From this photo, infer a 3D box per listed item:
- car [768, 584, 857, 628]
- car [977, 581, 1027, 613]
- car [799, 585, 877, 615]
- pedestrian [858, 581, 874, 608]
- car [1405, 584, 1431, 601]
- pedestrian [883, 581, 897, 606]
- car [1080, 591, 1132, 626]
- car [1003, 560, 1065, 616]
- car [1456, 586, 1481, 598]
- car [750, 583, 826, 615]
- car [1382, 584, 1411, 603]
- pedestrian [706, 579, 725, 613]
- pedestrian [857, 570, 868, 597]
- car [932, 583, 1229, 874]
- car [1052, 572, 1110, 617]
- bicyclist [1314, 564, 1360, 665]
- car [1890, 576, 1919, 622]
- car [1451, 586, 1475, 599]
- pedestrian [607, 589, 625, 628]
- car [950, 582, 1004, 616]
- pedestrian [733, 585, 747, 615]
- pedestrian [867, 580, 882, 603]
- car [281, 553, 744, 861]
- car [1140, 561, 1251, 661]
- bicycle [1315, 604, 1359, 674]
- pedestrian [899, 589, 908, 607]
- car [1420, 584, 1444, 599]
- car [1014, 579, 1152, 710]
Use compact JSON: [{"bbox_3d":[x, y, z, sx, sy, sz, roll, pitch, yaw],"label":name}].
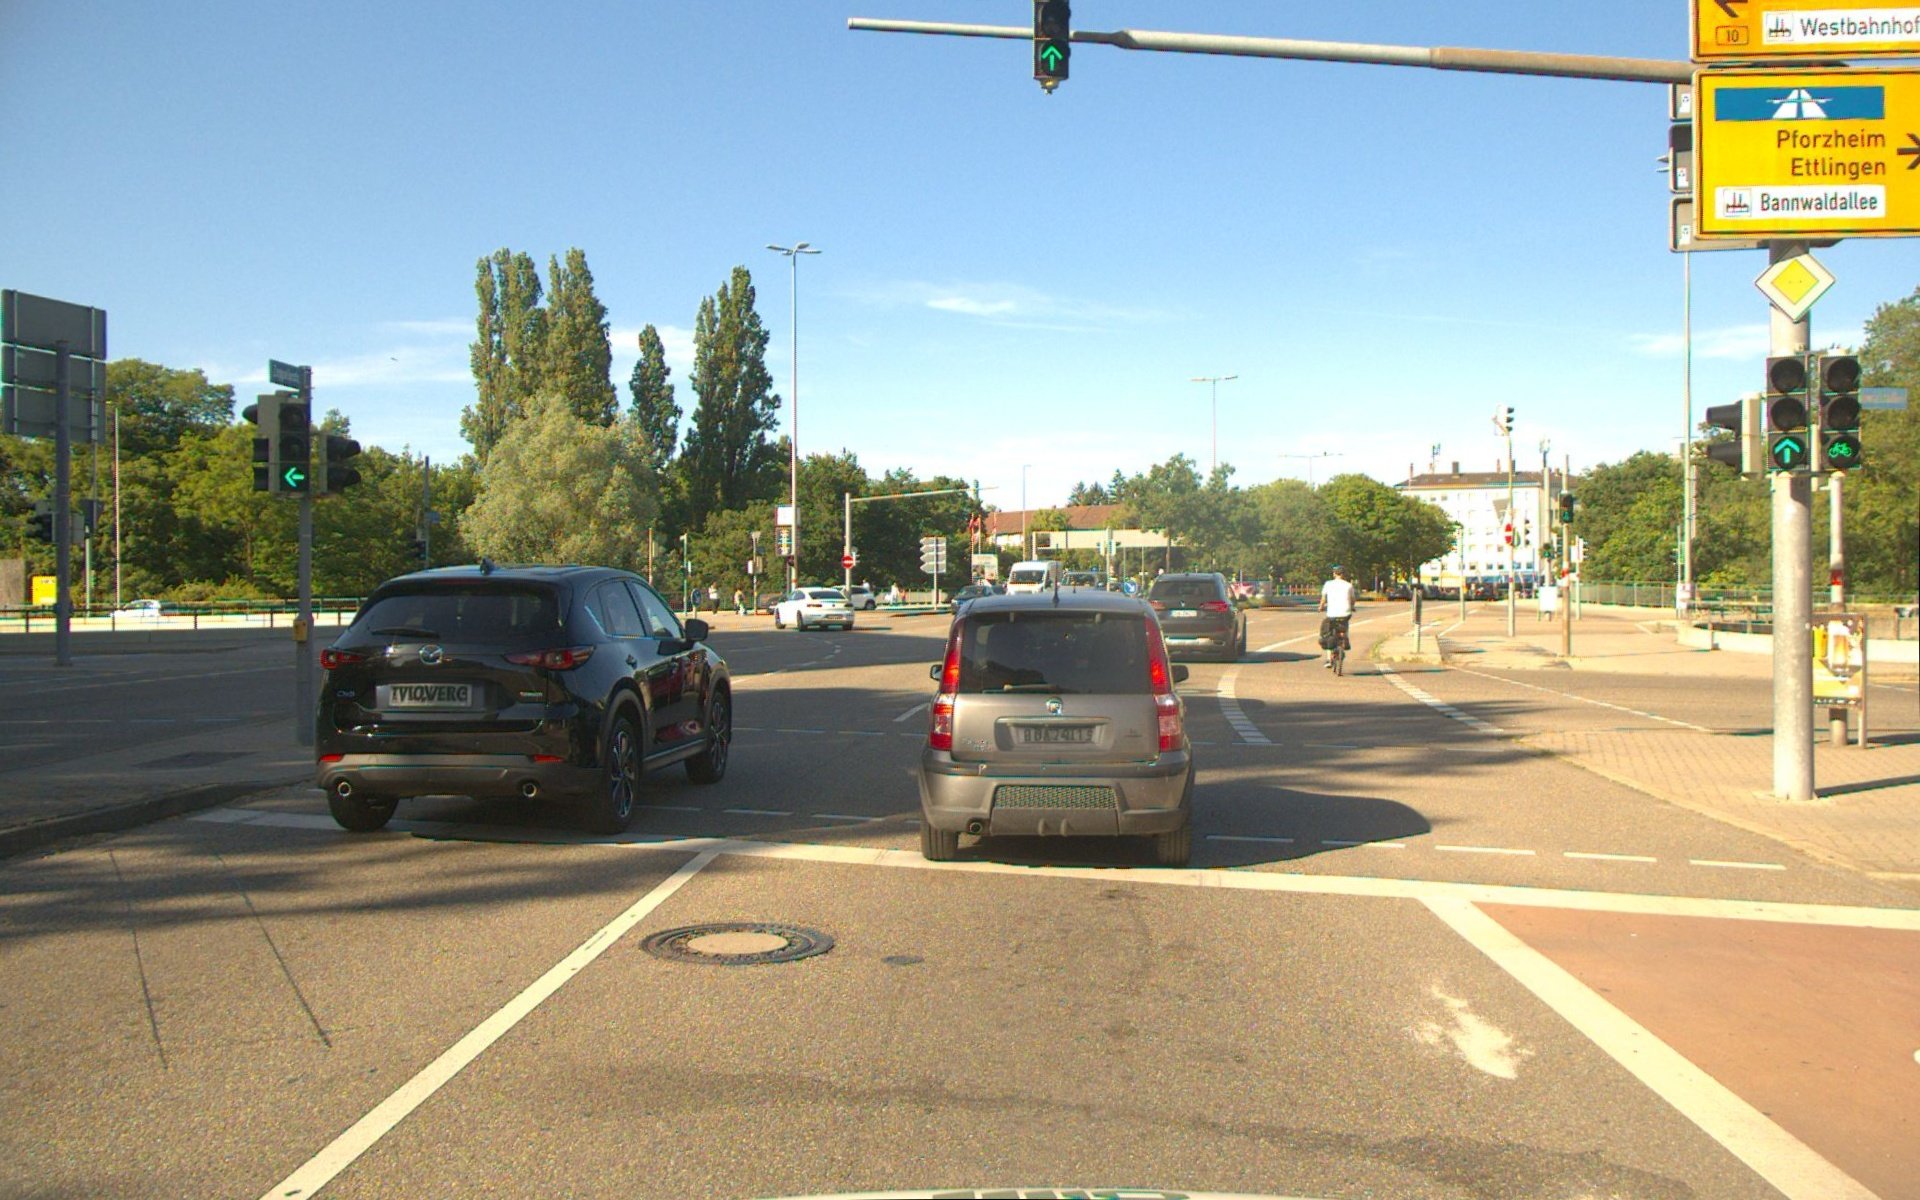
[{"bbox_3d":[-5.012,0.178,55.795,1.757,1.439,4.287,0,0,-23],"label":"car"},{"bbox_3d":[2.287,-0.181,88.393,1.772,1.568,4.621,-2,0,13],"label":"car"},{"bbox_3d":[-6.701,-0.031,90.967,1.753,1.562,4.302,1,2,42],"label":"car"},{"bbox_3d":[-6.097,-0.369,107.401,0.774,1.693,0.629,0,-2,27],"label":"pedestrian"},{"bbox_3d":[42.014,-0.675,151.638,1.905,1.555,4.097,0,0,22],"label":"car"},{"bbox_3d":[-4.743,-0.428,112.514,0.705,1.670,0.673,1,-2,19],"label":"pedestrian"},{"bbox_3d":[7.319,0.408,82.537,1.895,1.650,4.509,0,1,14],"label":"car"},{"bbox_3d":[3.675,-0.583,80.905,1.895,2.621,6.094,0,1,14],"label":"car"},{"bbox_3d":[67.305,-1.124,218.927,1.912,1.555,4.082,0,0,35],"label":"car"},{"bbox_3d":[-9.639,-0.035,93.033,1.869,1.654,3.971,0,-2,45],"label":"car"},{"bbox_3d":[36.235,-0.579,137.372,1.905,1.555,4.098,0,0,21],"label":"car"},{"bbox_3d":[-11.552,-0.198,78.163,0.699,1.574,0.724,-1,-1,-21],"label":"pedestrian"},{"bbox_3d":[-6.333,-1.039,107.401,0.488,1.731,0.500,1,-2,18],"label":"pedestrian"},{"bbox_3d":[0.767,0.675,10.870,1.583,1.542,3.822,1,1,3],"label":"car"},{"bbox_3d":[5.678,-0.265,77.199,1.895,2.043,4.936,0,1,14],"label":"car"},{"bbox_3d":[6.448,0.232,28.321,0.708,1.688,1.114,1,0,11],"label":"bicyclist"},{"bbox_3d":[34.604,-0.044,57.037,4.168,1.579,1.851,0,1,41],"label":"car"},{"bbox_3d":[61.593,-0.900,202.588,1.909,1.555,4.089,0,0,30],"label":"car"},{"bbox_3d":[-13.095,0.314,62.894,0.667,1.489,0.701,0,0,-12],"label":"pedestrian"},{"bbox_3d":[0.858,-0.055,81.209,1.895,1.534,4.004,-2,0,11],"label":"car"},{"bbox_3d":[-11.633,0.006,87.477,0.548,1.574,0.572,-1,-1,-22],"label":"pedestrian"},{"bbox_3d":[-5.817,-0.583,112.548,0.658,1.529,0.777,0,-2,33],"label":"pedestrian"},{"bbox_3d":[-2.823,0.592,11.489,1.835,1.739,4.199,0,0,4],"label":"car"},{"bbox_3d":[4.887,0.180,33.903,1.904,1.872,4.156,1,1,13],"label":"car"},{"bbox_3d":[6.451,0.649,28.387,0.676,1.121,1.828,1,1,11],"label":"bicycle"},{"bbox_3d":[-3.836,-0.129,112.372,0.414,1.156,0.398,1,-2,19],"label":"pedestrian"},{"bbox_3d":[47.974,-0.871,168.087,1.905,1.555,4.097,0,0,22],"label":"car"},{"bbox_3d":[1.640,0.499,21.142,1.583,1.488,3.753,1,1,6],"label":"car"}]
